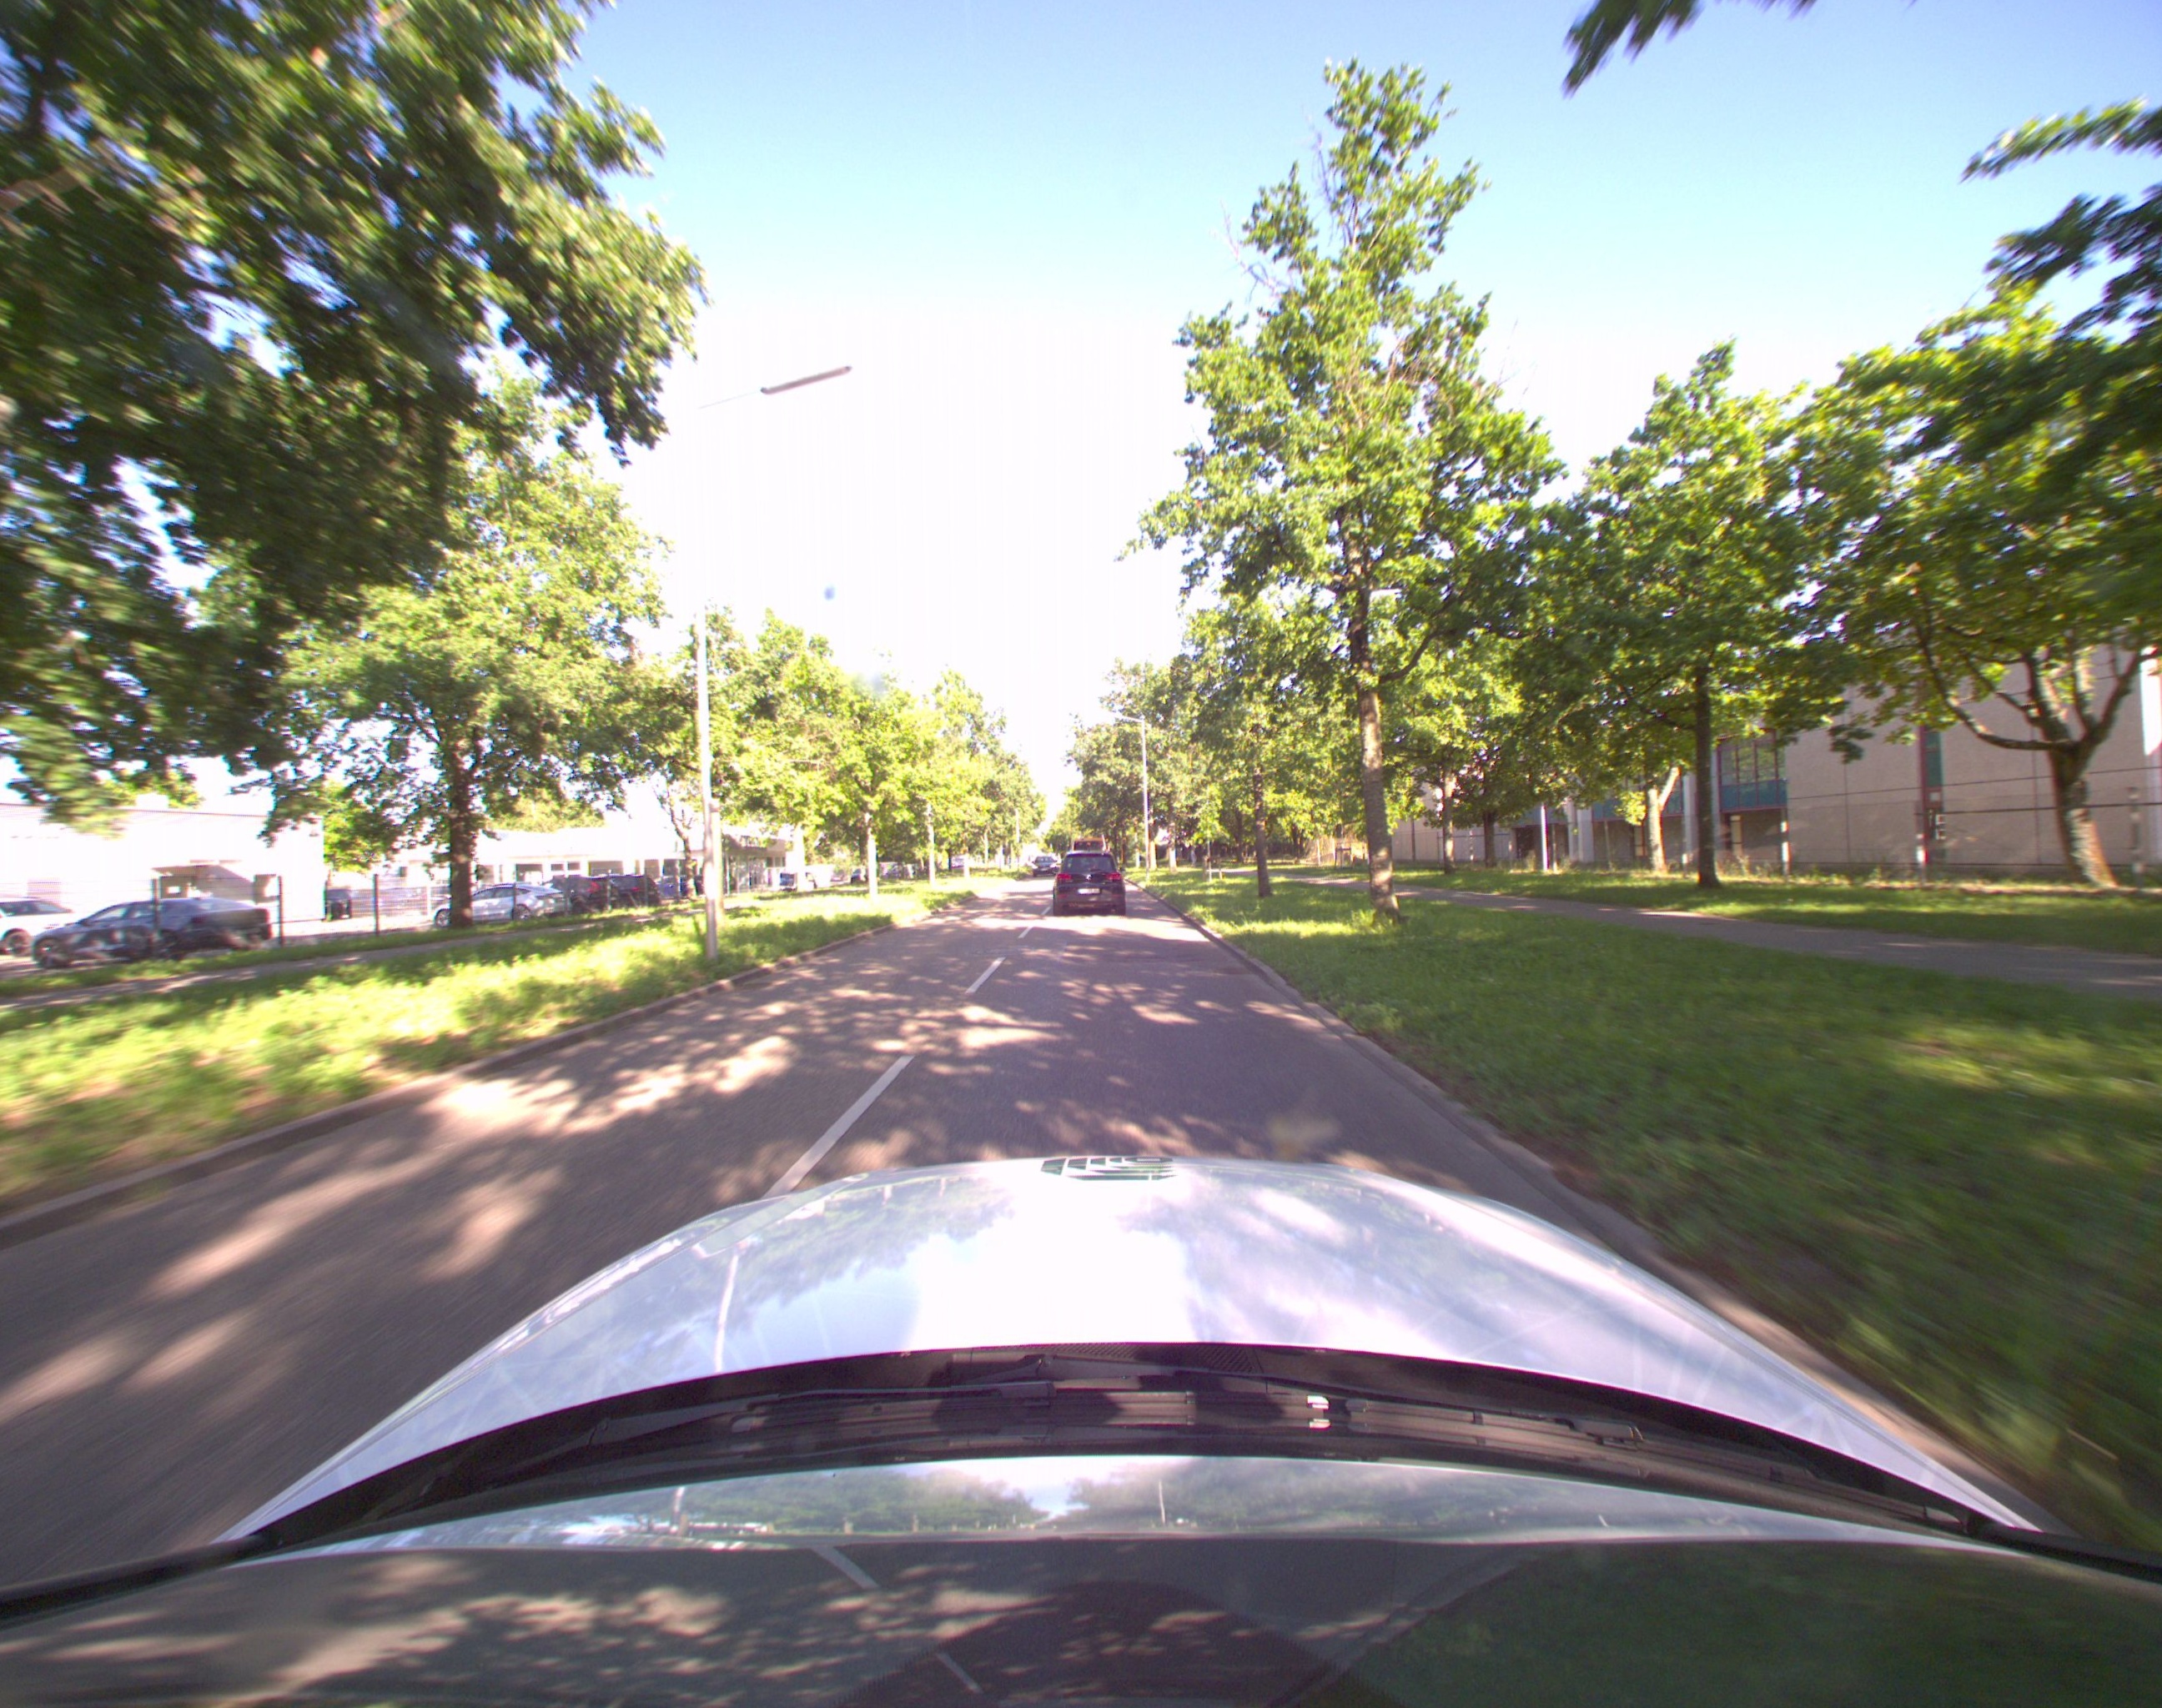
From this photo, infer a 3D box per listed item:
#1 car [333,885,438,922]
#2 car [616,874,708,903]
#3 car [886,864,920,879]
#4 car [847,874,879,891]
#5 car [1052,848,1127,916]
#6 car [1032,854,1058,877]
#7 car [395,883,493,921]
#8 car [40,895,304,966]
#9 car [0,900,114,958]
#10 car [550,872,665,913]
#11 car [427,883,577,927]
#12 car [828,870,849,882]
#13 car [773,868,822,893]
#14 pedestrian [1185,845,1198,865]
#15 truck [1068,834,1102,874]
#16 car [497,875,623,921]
[{"bbox_3d":[-36.715,2.537,43.212,1.996,1.661,5.236,0,0,-13],"label":"car"},{"bbox_3d":[-29.026,2.361,56.603,1.974,1.660,5.294,-1,1,38],"label":"car"},{"bbox_3d":[-22.011,2.185,101.072,3.986,1.802,1.994,0,-1,-9],"label":"car"},{"bbox_3d":[-22.088,2.890,82.636,1.988,1.598,5.010,0,0,-2],"label":"car"},{"bbox_3d":[0.128,0.700,21.852,1.778,1.633,3.996,0,0,-3],"label":"car"},{"bbox_3d":[-2.835,0.877,64.850,1.762,1.672,4.197,-3,-1,-1],"label":"car"},{"bbox_3d":[-33.093,2.432,42.528,1.996,1.661,5.236,0,0,-13],"label":"car"},{"bbox_3d":[-22.009,1.819,19.873,3.972,1.518,2.199,-1,-1,1],"label":"car"},{"bbox_3d":[-31.026,2.167,23.596,3.972,1.518,1.752,-1,-1,1],"label":"car"},{"bbox_3d":[-21.049,1.700,36.325,3.971,1.742,2.001,-1,-1,2],"label":"car"},{"bbox_3d":[-21.562,1.883,30.441,4.295,1.518,1.862,-1,-1,1],"label":"car"},{"bbox_3d":[-33.132,2.959,111.335,1.992,1.567,4.872,0,0,-8],"label":"car"},{"bbox_3d":[-18.268,1.730,52.525,2.548,1.470,1.432,-2,0,15],"label":"car"},{"bbox_3d":[9.460,0.087,69.615,0.710,1.631,0.613,-4,0,43],"label":"pedestrian"},{"bbox_3d":[0.284,0.001,72.987,2.506,3.243,8.142,-3,0,-3],"label":"truck"},{"bbox_3d":[-21.314,1.771,33.423,3.972,1.746,1.862,-1,-1,1],"label":"car"}]
